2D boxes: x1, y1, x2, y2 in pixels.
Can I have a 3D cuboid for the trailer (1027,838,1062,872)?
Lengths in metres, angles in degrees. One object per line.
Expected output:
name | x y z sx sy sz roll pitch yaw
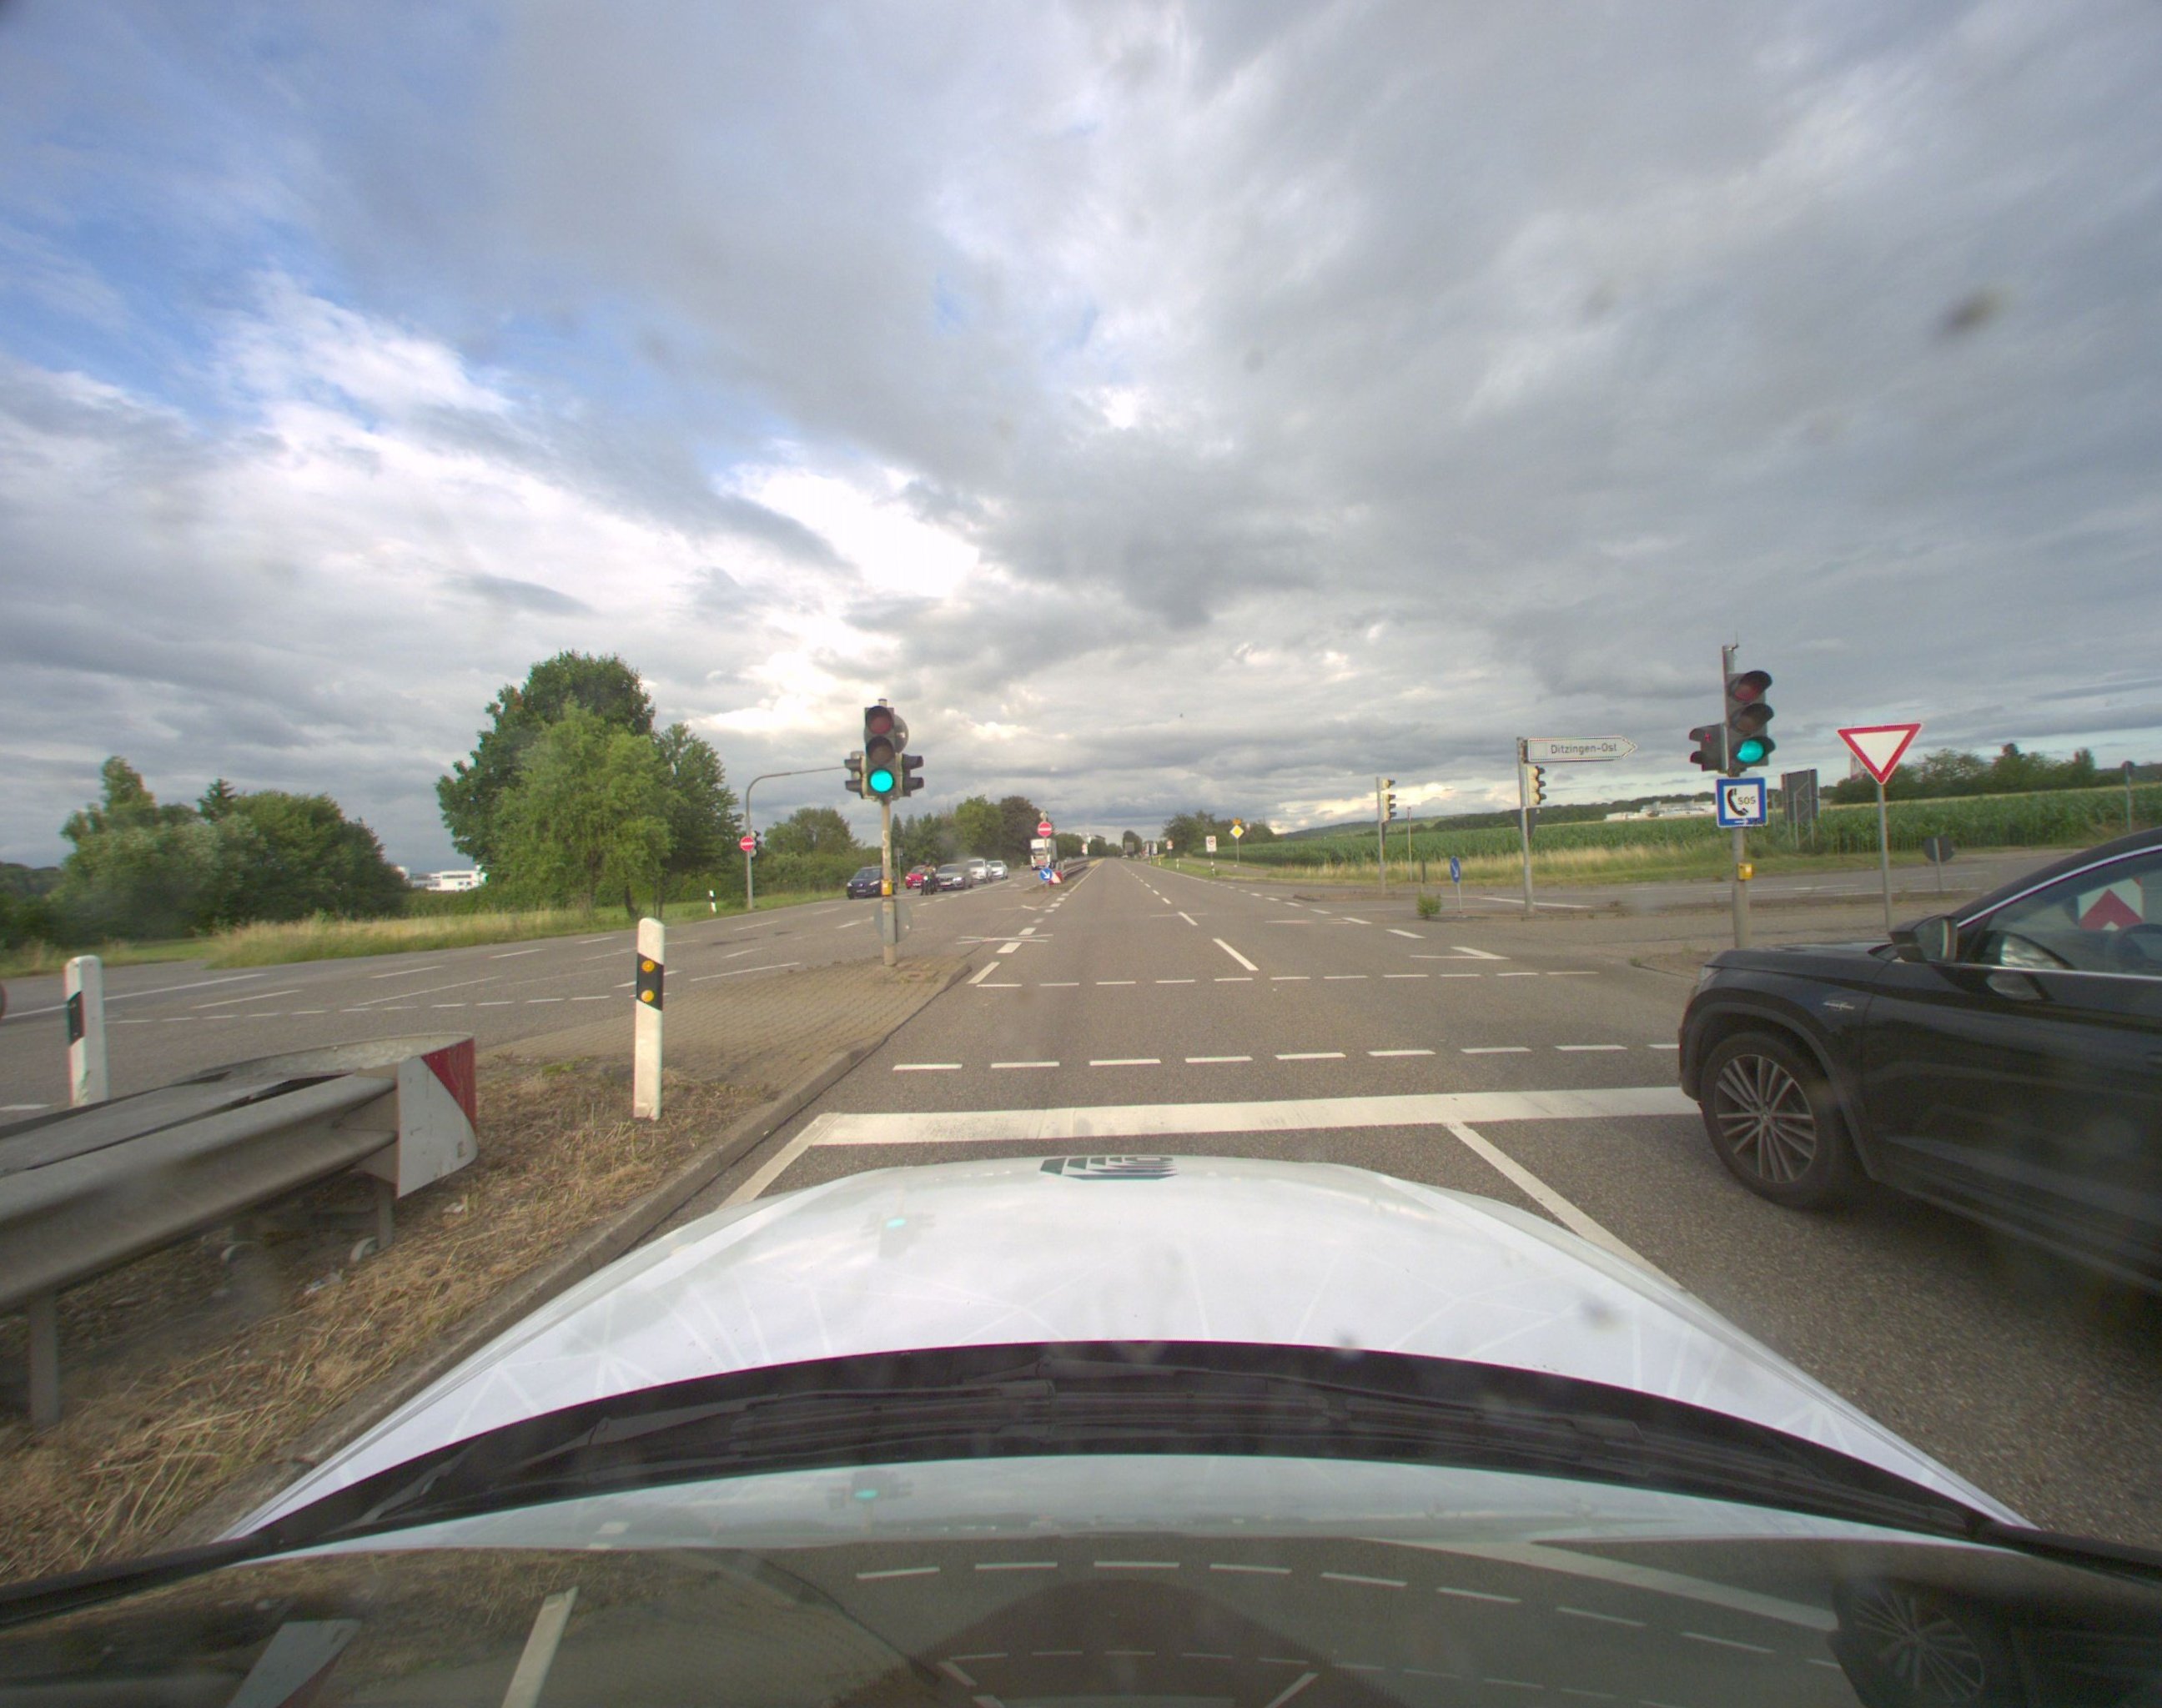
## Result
trailer | -4.848 0.183 112.164 3.452 4.150 13.922 -4 0 2

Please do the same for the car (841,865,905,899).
car | -10.877 1.415 43.019 1.900 1.535 4.940 -3 0 2

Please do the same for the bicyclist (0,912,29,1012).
bicyclist | -16.550 1.627 11.939 1.216 1.451 0.817 -3 0 7

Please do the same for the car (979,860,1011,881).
car | -6.601 1.235 62.960 1.782 1.444 4.162 -3 0 2

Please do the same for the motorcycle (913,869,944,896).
motorcycle | -7.463 1.356 39.956 0.913 1.203 2.480 -3 -1 2

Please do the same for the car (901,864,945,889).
car | -10.430 1.477 54.092 1.900 1.465 4.186 -3 0 2

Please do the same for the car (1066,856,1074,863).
car | -2.541 1.311 191.566 1.782 1.386 4.162 -3 0 2

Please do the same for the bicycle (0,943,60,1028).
bicycle | -16.504 1.959 11.922 2.307 1.137 0.817 -3 0 7

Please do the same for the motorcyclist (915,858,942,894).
motorcyclist | -7.471 1.061 39.958 0.913 1.709 1.276 -3 -1 2

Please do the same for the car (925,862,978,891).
car | -7.150 1.212 45.507 1.900 1.428 5.154 -3 0 2

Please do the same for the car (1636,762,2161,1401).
car | 3.700 0.582 1.895 1.838 1.650 4.482 0 0 1

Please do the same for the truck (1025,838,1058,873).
truck | -5.073 0.146 105.570 3.462 4.150 6.052 -4 0 2

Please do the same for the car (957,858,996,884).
car | -6.976 1.106 54.758 1.900 1.610 4.406 -3 0 2
